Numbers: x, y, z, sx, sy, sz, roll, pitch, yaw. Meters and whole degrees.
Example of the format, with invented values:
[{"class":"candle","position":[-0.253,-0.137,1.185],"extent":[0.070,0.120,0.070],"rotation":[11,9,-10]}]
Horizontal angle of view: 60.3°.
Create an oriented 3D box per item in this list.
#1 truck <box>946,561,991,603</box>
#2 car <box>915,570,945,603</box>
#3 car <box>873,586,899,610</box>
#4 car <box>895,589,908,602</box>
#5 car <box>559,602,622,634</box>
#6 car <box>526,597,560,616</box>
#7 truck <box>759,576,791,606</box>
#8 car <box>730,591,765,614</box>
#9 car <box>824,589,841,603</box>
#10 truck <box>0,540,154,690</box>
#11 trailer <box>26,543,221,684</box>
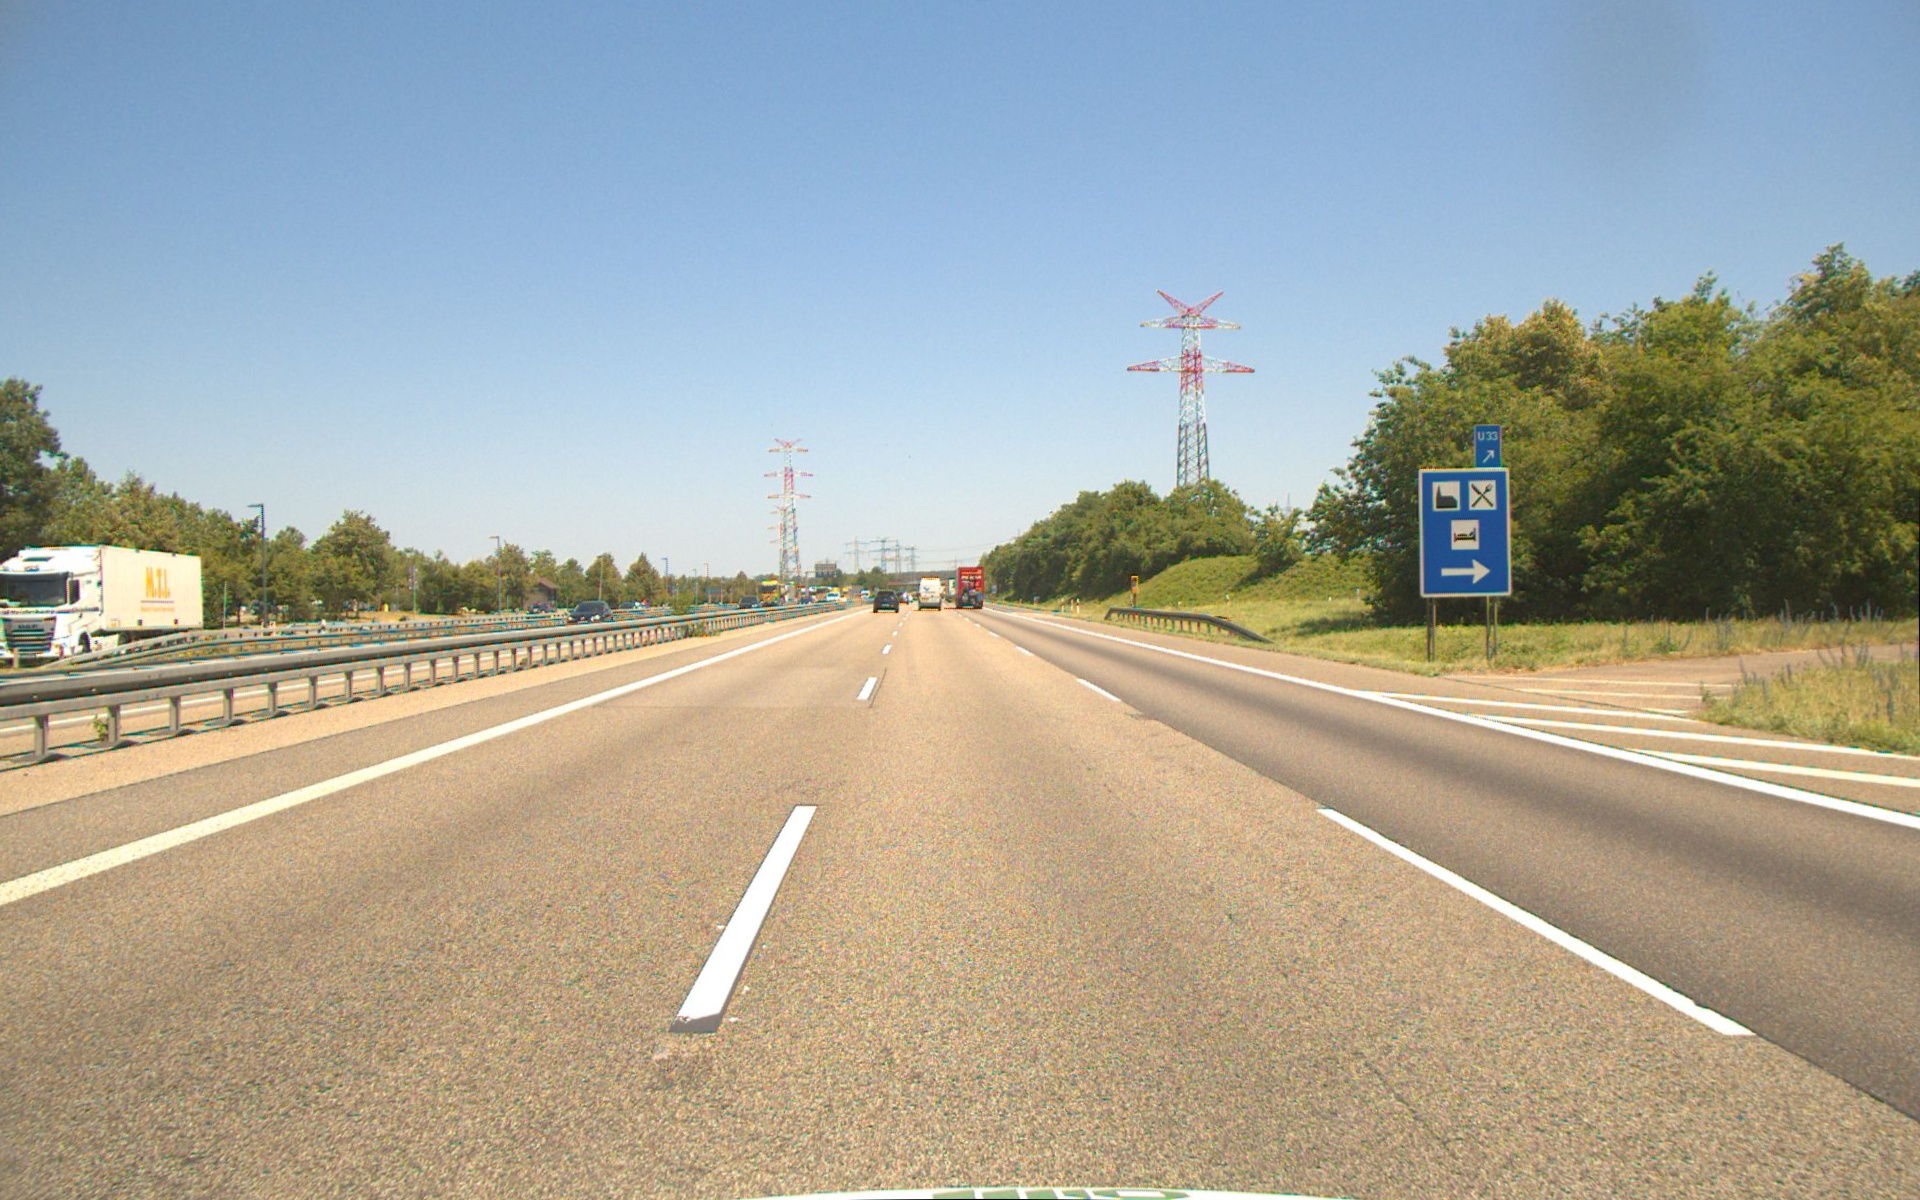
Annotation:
[{"class":"truck","position":[0.769,-1.827,168.817],"extent":[4.244,4.010,16.074],"rotation":[0,1,-1]},{"class":"car","position":[-2.703,-1.204,146.815],"extent":[2.568,2.807,6.094],"rotation":[0,1,-2]},{"class":"car","position":[-5.684,-0.188,127.755],"extent":[1.953,1.780,3.999],"rotation":[0,1,-2]},{"class":"car","position":[-7.879,-0.647,221.787],"extent":[1.712,1.662,4.002],"rotation":[0,1,-2]},{"class":"car","position":[-18.787,0.901,84.213],"extent":[2.183,1.404,4.889],"rotation":[-3,1,-2]},{"class":"car","position":[-38.917,0.612,154.507],"extent":[2.011,1.578,4.889],"rotation":[-3,1,-2]},{"class":"truck","position":[-25.050,-1.275,224.564],"extent":[3.107,3.876,13.527],"rotation":[-1,0,-1]},{"class":"car","position":[-16.014,0.197,124.843],"extent":[2.011,1.578,4.889],"rotation":[-3,1,-2]},{"class":"car","position":[-17.235,-0.511,223.500],"extent":[2.011,1.875,5.941],"rotation":[-1,0,-2]},{"class":"truck","position":[-32.070,0.480,59.846],"extent":[3.016,4.911,7.695],"rotation":[-4,1,-11]},{"class":"trailer","position":[-33.376,0.428,66.831],"extent":[3.016,4.911,13.730],"rotation":[-4,1,-11]}]
